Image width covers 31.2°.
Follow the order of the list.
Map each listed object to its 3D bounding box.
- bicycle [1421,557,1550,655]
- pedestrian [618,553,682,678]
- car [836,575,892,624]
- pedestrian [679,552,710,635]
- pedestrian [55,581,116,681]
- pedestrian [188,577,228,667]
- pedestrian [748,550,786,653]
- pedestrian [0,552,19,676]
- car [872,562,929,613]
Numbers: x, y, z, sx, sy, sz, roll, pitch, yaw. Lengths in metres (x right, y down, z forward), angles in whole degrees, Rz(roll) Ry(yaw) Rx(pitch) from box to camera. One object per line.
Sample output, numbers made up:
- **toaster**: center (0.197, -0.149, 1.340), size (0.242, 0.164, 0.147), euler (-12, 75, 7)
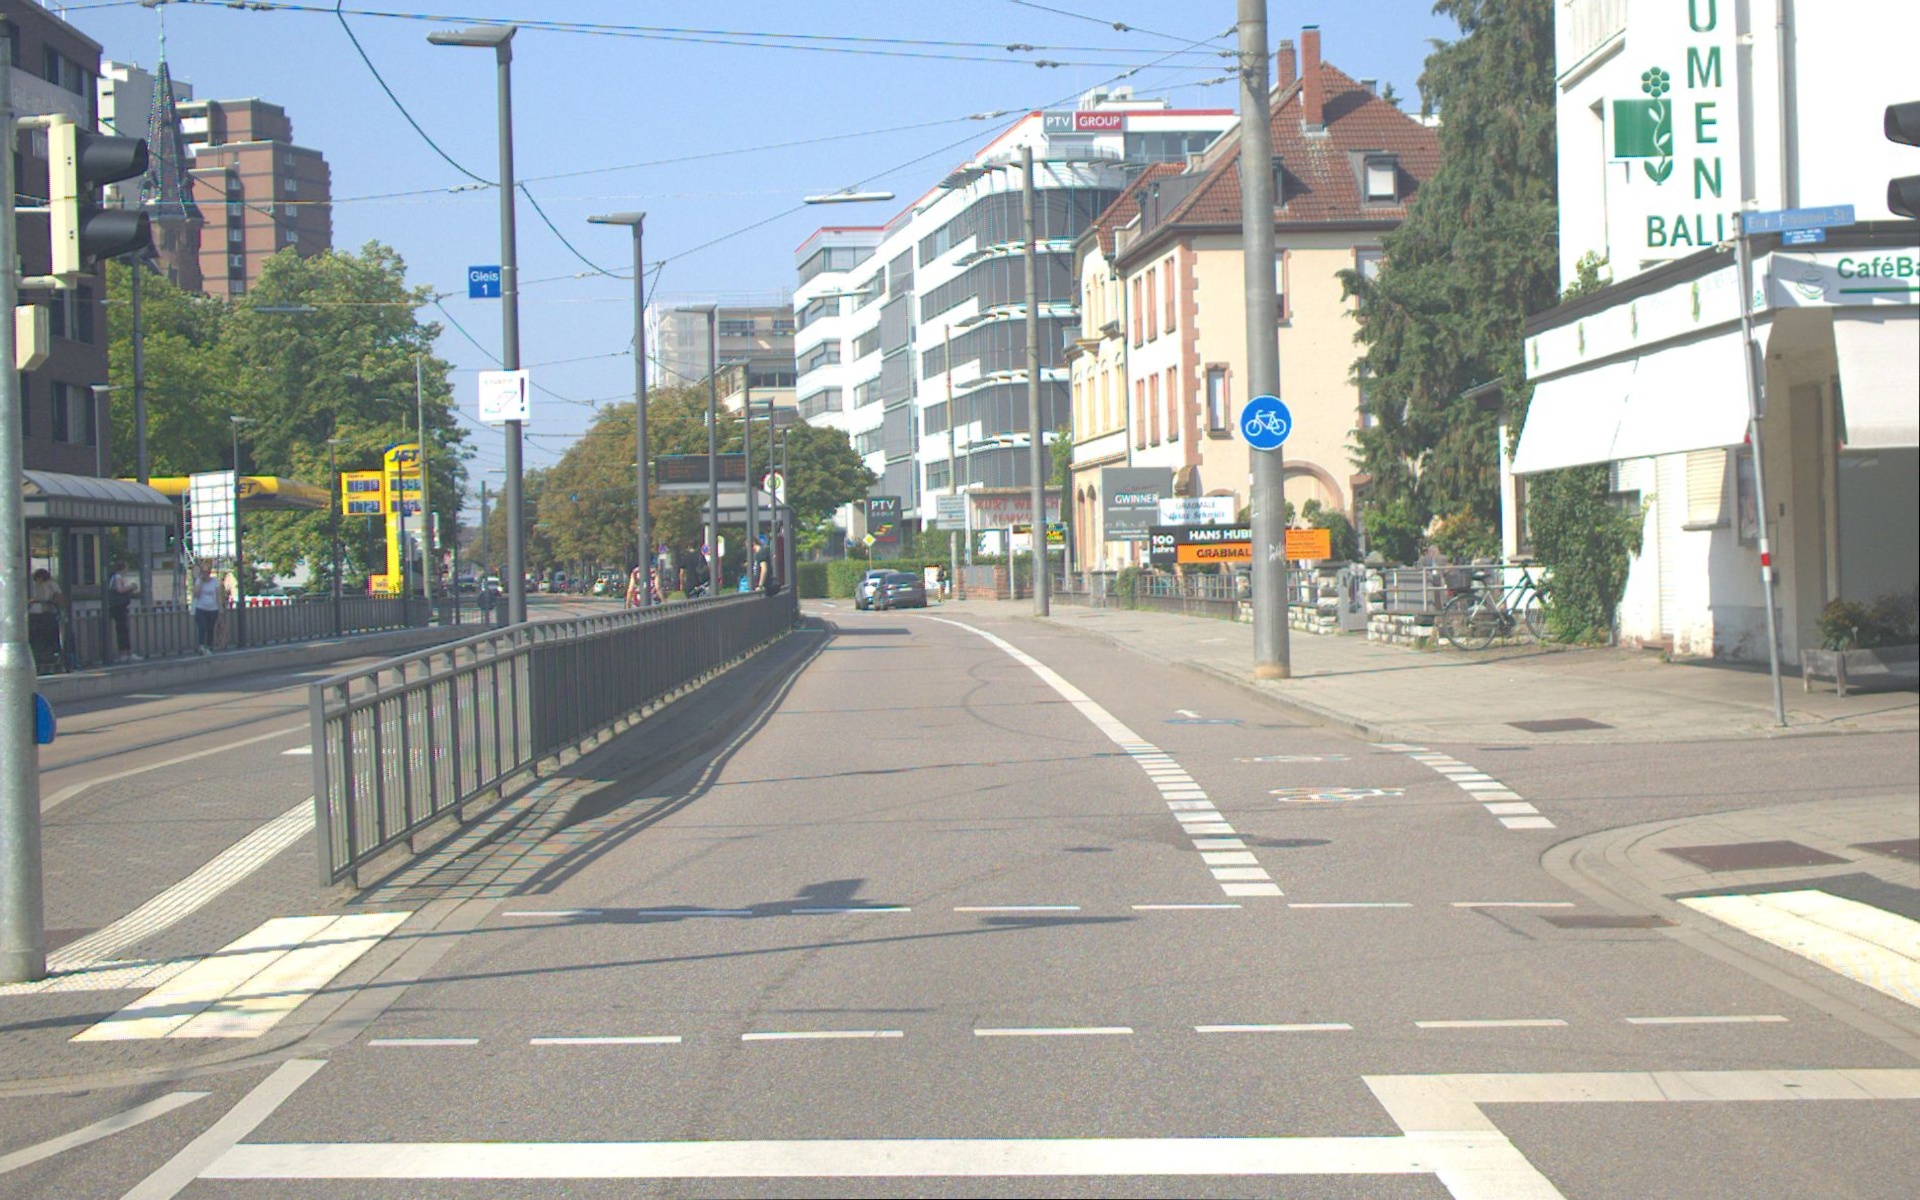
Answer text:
- **bicycle**: center (6.571, 0.073, 43.160), size (0.731, 1.129, 2.840), euler (-5, 1, -8)
- **pedestrian**: center (-4.349, 0.209, 48.296), size (0.720, 1.697, 0.884), euler (-3, 0, 0)
- **car**: center (-3.888, -0.039, 139.480), size (2.011, 1.852, 4.000), euler (-3, 0, 0)
- **pedestrian**: center (-5.535, -0.139, 71.678), size (0.536, 1.697, 0.582), euler (-3, 0, -3)
- **pedestrian**: center (-13.231, 0.467, 52.042), size (0.699, 1.463, 0.534), euler (-3, -1, 2)
- **pedestrian**: center (-13.097, 0.380, 59.894), size (0.532, 1.525, 0.702), euler (-3, 0, -7)
- **pedestrian**: center (-3.240, 0.019, 57.778), size (0.536, 1.697, 0.582), euler (-3, 0, -3)
- **pedestrian**: center (-13.835, 0.213, 48.664), size (0.708, 1.741, 0.799), euler (-3, 0, 0)
- **car**: center (-2.306, -0.497, 133.266), size (2.011, 1.852, 4.000), euler (-3, 0, 0)
